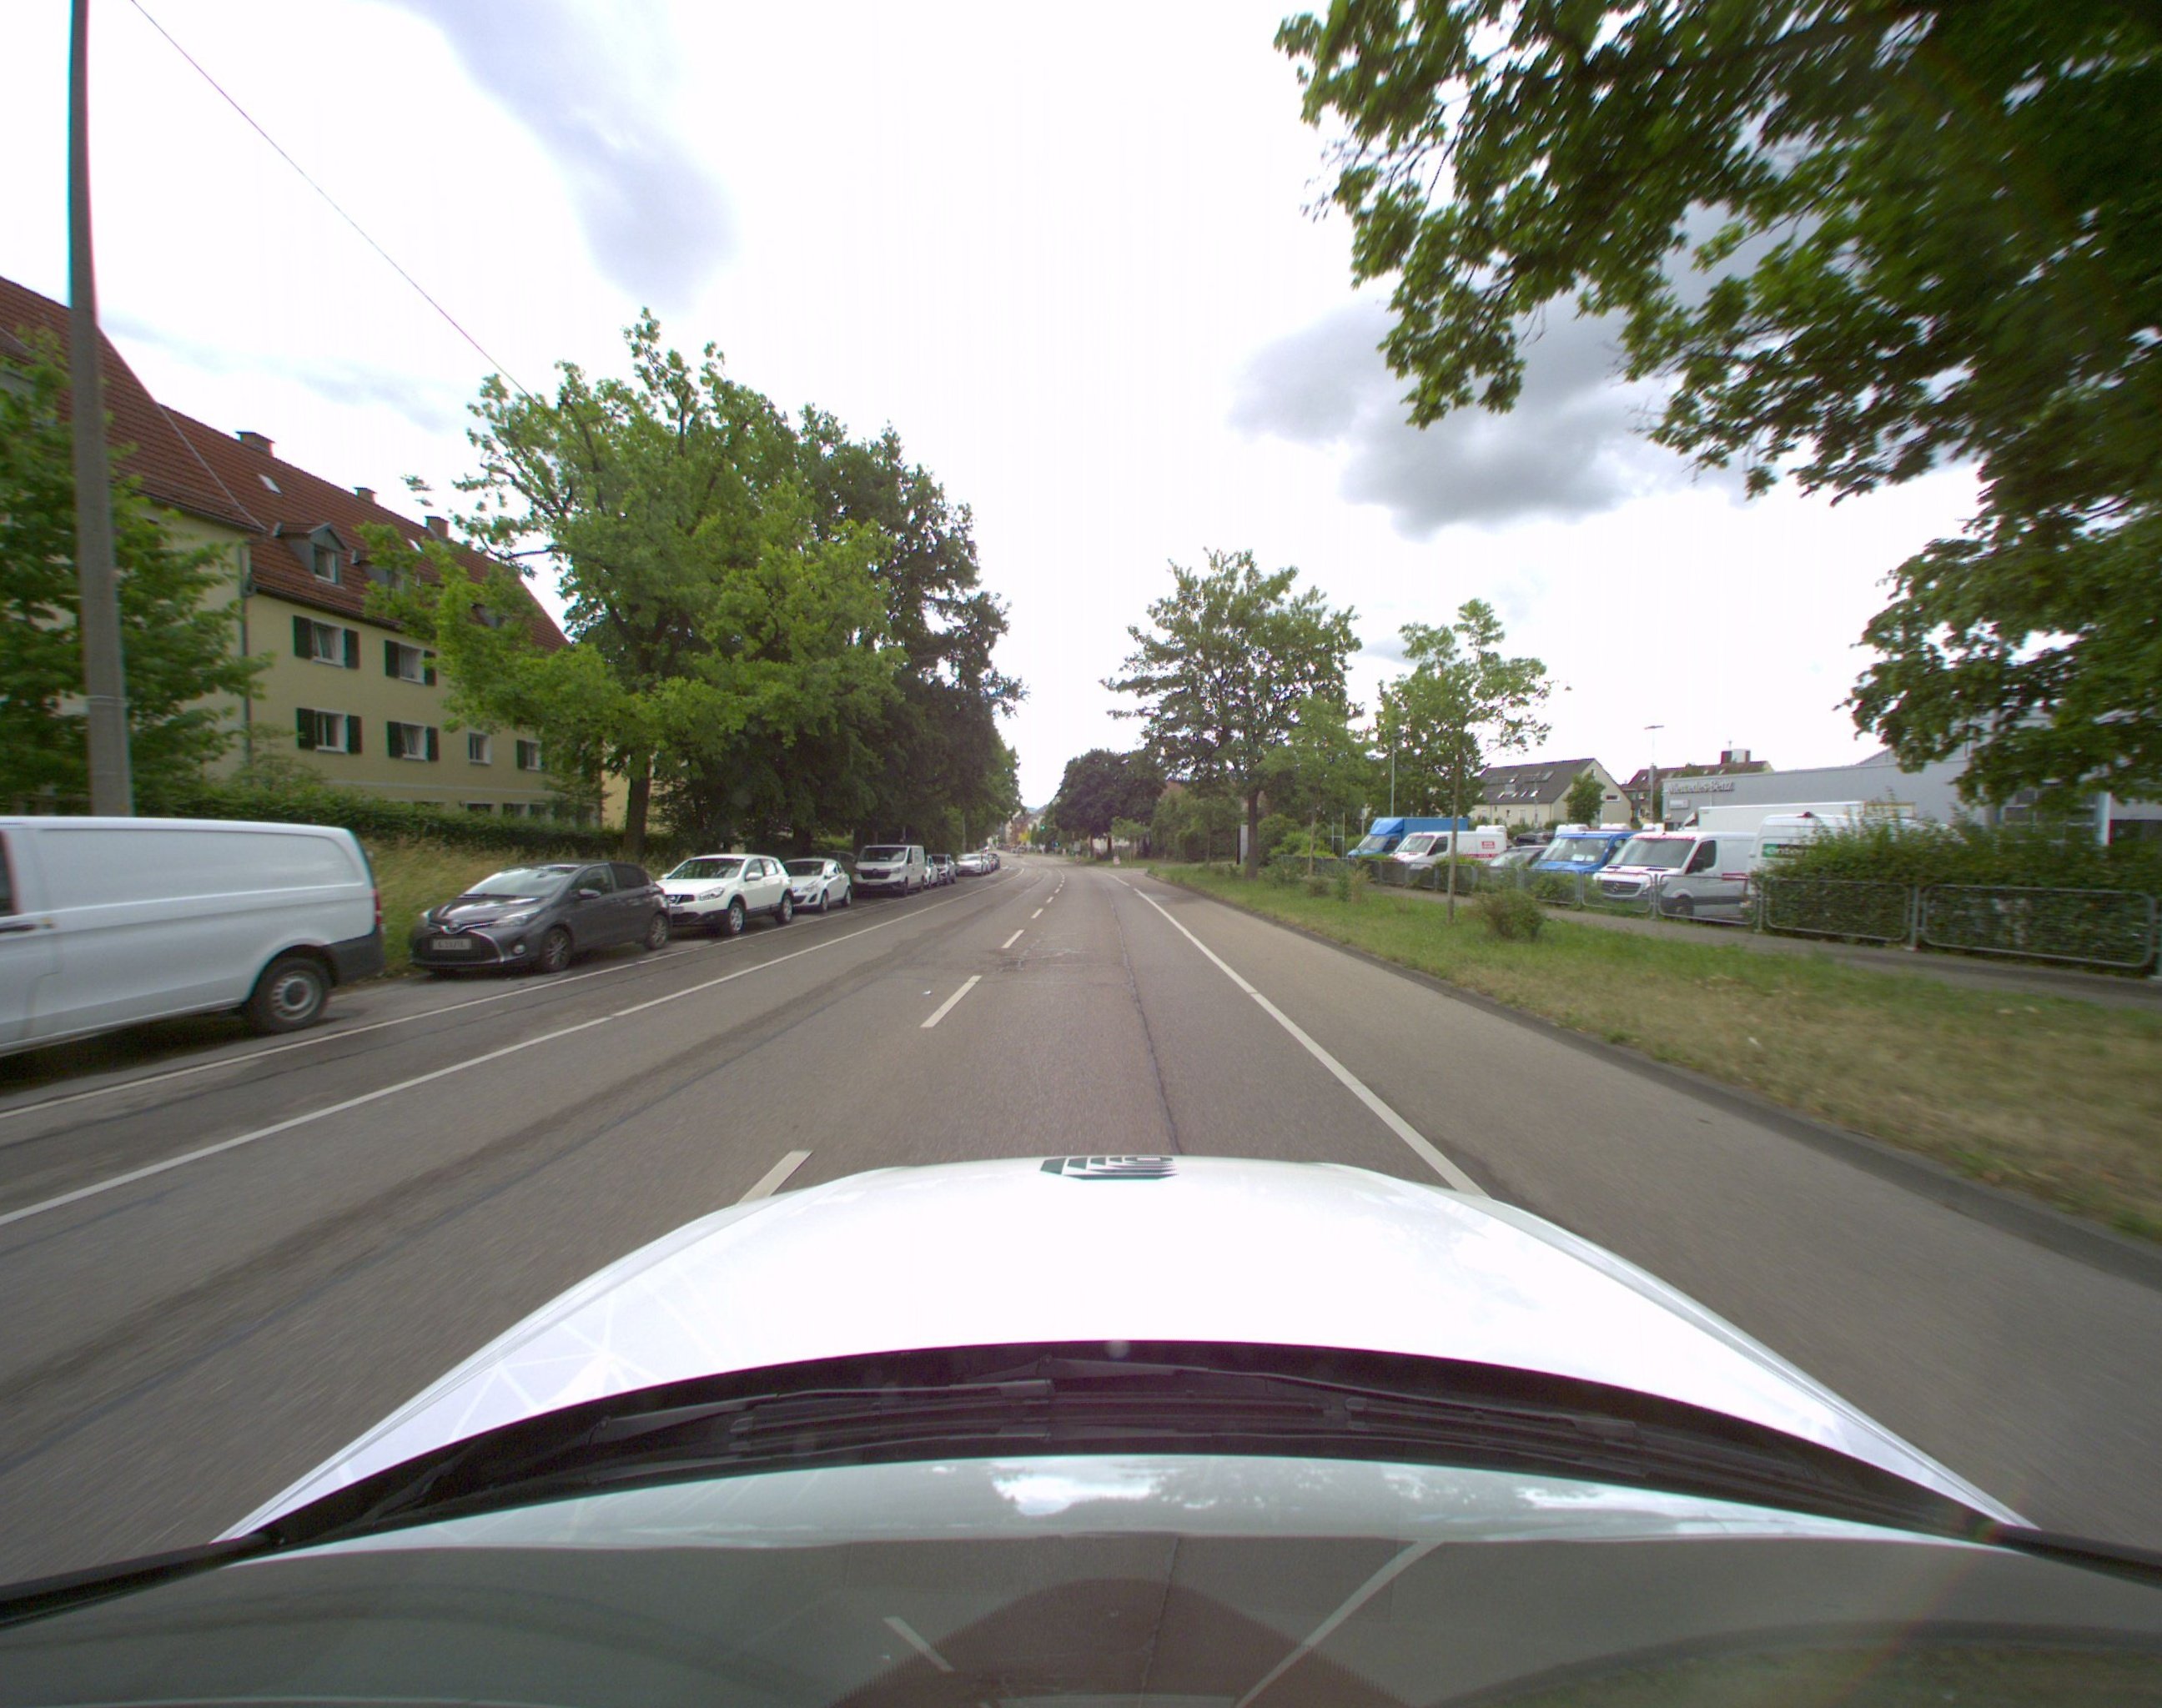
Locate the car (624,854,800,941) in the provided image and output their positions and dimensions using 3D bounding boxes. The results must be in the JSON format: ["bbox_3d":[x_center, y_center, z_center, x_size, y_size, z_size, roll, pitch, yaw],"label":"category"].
[{"bbox_3d":[-7.469,0.796,16.999,1.667,1.564,4.281,-1,0,0],"label":"car"}]

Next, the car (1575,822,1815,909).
[{"bbox_3d":[15.460,0.280,20.483,5.829,1.956,2.057,1,0,-21],"label":"car"}]

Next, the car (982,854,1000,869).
[{"bbox_3d":[-8.917,0.749,80.931,1.712,1.389,4.331,0,0,-5],"label":"car"}]

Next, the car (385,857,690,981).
[{"bbox_3d":[-7.782,0.821,12.214,1.666,1.488,4.048,-2,0,3],"label":"car"}]

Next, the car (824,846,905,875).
[{"bbox_3d":[-13.397,0.373,50.596,4.415,1.455,1.888,4,0,2],"label":"car"}]

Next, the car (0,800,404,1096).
[{"bbox_3d":[-7.927,0.599,5.852,1.762,1.931,5.156,1,1,1],"label":"car"}]

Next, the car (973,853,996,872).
[{"bbox_3d":[-8.234,0.721,69.793,1.712,1.573,4.363,0,0,-5],"label":"car"}]

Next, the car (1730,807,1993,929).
[{"bbox_3d":[15.962,0.266,16.640,5.268,2.188,2.055,1,0,-24],"label":"car"}]

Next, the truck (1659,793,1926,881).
[{"bbox_3d":[31.769,-0.685,37.171,2.853,3.459,9.508,1,0,-10],"label":"truck"}]

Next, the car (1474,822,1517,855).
[{"bbox_3d":[36.946,-1.413,72.509,2.234,2.676,5.485,0,3,40],"label":"car"}]

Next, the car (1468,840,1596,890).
[{"bbox_3d":[15.601,0.367,28.158,4.008,1.629,1.983,1,0,-27],"label":"car"}]

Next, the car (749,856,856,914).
[{"bbox_3d":[-7.735,0.815,23.038,1.657,1.479,4.088,0,0,-1],"label":"car"}]

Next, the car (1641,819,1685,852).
[{"bbox_3d":[50.671,-1.644,70.898,5.482,2.676,2.235,-3,3,-45],"label":"car"}]

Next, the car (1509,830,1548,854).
[{"bbox_3d":[39.452,-1.097,71.724,2.039,1.955,4.528,1,3,42],"label":"car"}]

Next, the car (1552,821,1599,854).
[{"bbox_3d":[43.239,-1.496,71.172,5.482,2.676,2.235,-3,3,-45],"label":"car"}]

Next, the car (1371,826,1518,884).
[{"bbox_3d":[15.853,0.044,35.486,6.035,2.367,2.345,1,0,-23],"label":"car"}]

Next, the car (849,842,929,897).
[{"bbox_3d":[-7.306,0.543,31.553,1.860,1.963,5.126,0,0,0],"label":"car"}]

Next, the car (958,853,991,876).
[{"bbox_3d":[-7.680,0.719,58.869,1.761,1.573,4.758,-1,0,0],"label":"car"}]

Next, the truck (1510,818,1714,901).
[{"bbox_3d":[15.761,0.166,24.098,6.266,2.212,2.227,1,0,-27],"label":"truck"}]

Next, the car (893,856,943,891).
[{"bbox_3d":[-7.404,0.861,37.263,1.577,1.482,3.717,0,0,-2],"label":"car"}]

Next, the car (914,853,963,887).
[{"bbox_3d":[-7.312,0.795,42.134,1.760,1.633,4.158,0,0,1],"label":"car"}]

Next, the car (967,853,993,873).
[{"bbox_3d":[-7.911,0.686,64.200,1.865,1.573,4.113,0,0,-5],"label":"car"}]

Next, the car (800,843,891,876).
[{"bbox_3d":[-13.033,0.296,45.236,4.424,1.450,1.866,4,0,-4],"label":"car"}]

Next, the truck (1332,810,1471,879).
[{"bbox_3d":[17.129,-0.527,43.444,7.195,3.477,2.599,-1,0,-24],"label":"truck"}]
